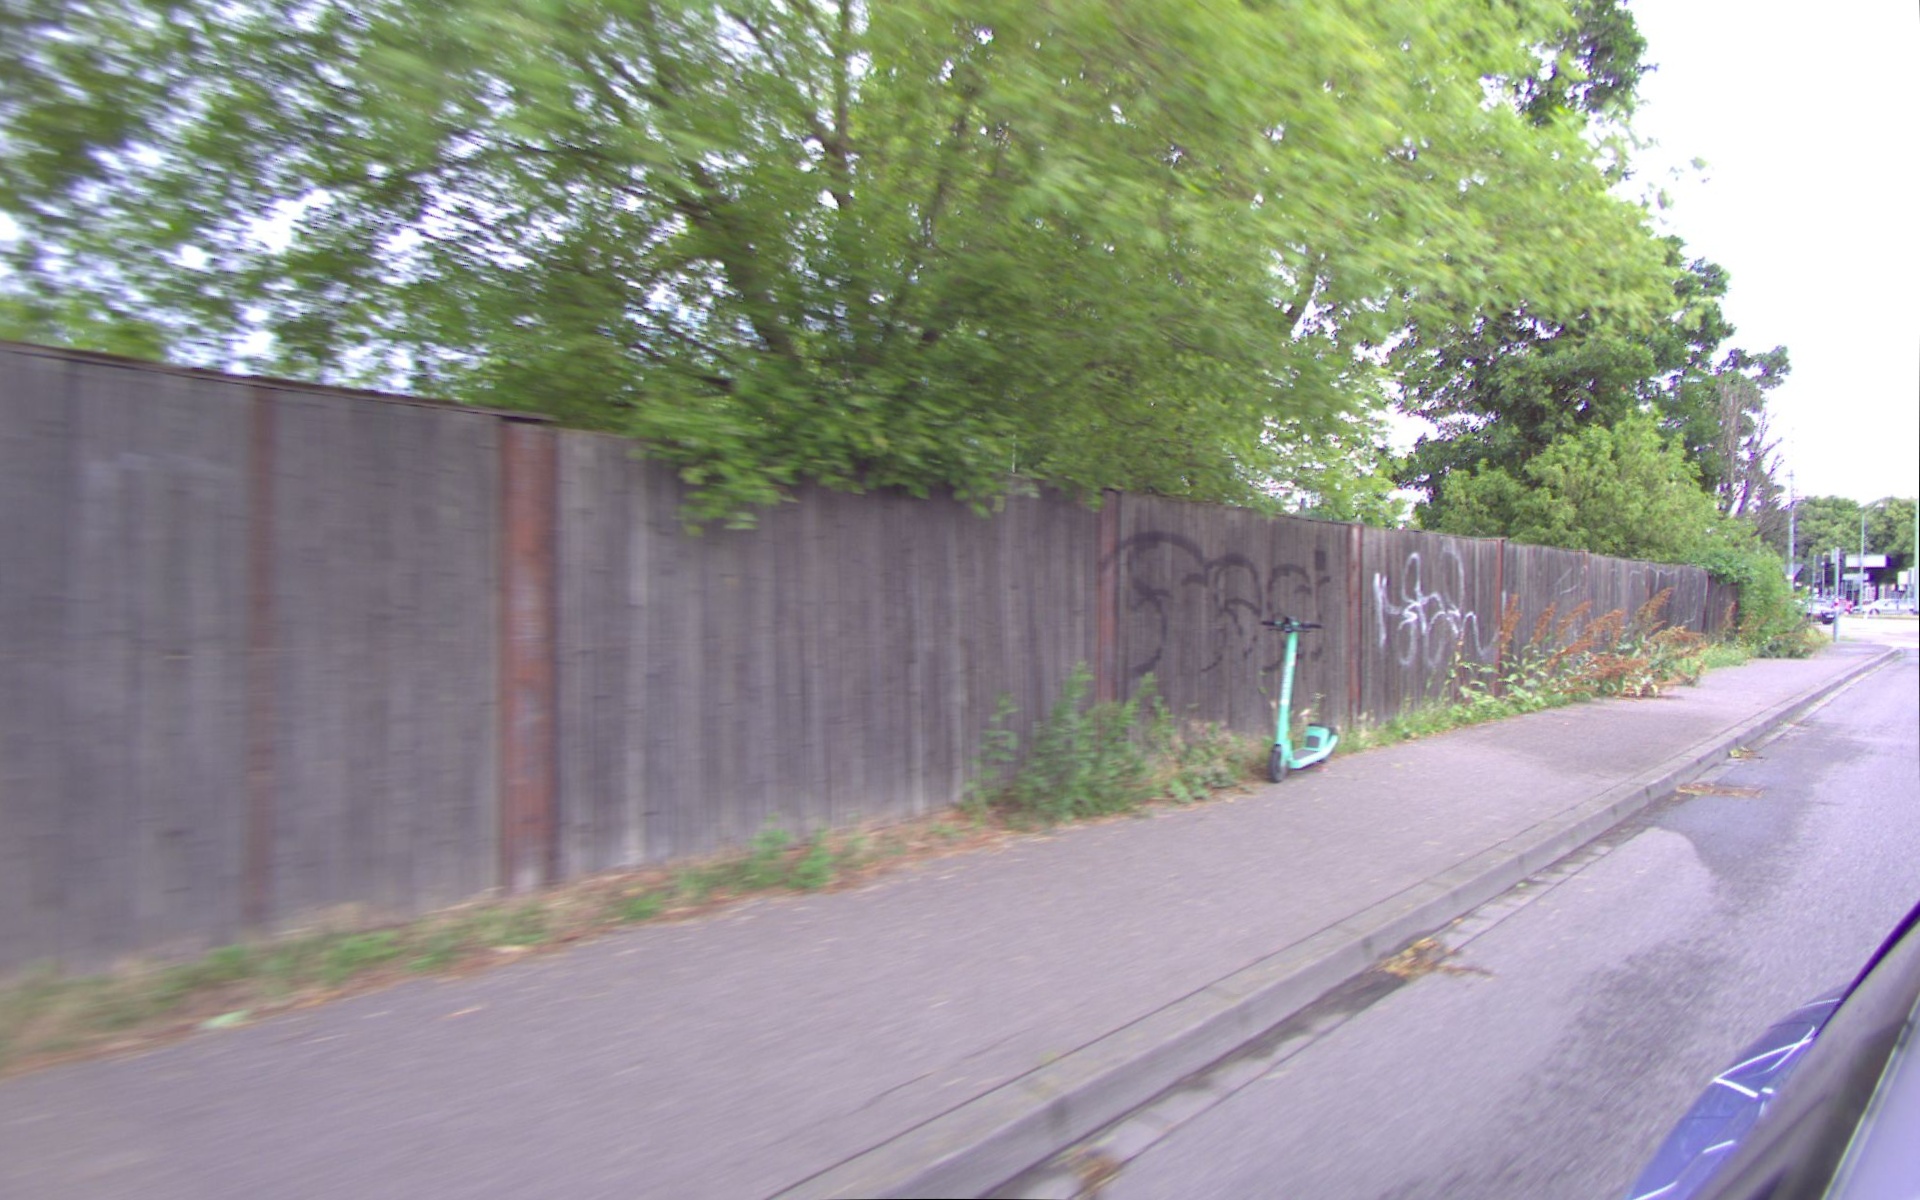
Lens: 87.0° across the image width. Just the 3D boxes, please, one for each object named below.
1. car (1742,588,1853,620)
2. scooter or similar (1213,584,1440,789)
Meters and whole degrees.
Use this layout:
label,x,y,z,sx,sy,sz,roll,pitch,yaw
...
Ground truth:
label,x,y,z,sx,sy,sz,roll,pitch,yaw
car,46.558,0.202,56.370,1.960,1.638,4.364,1,0,-30
scooter or similar,2.842,0.574,7.669,0.691,1.329,2.314,1,0,45
